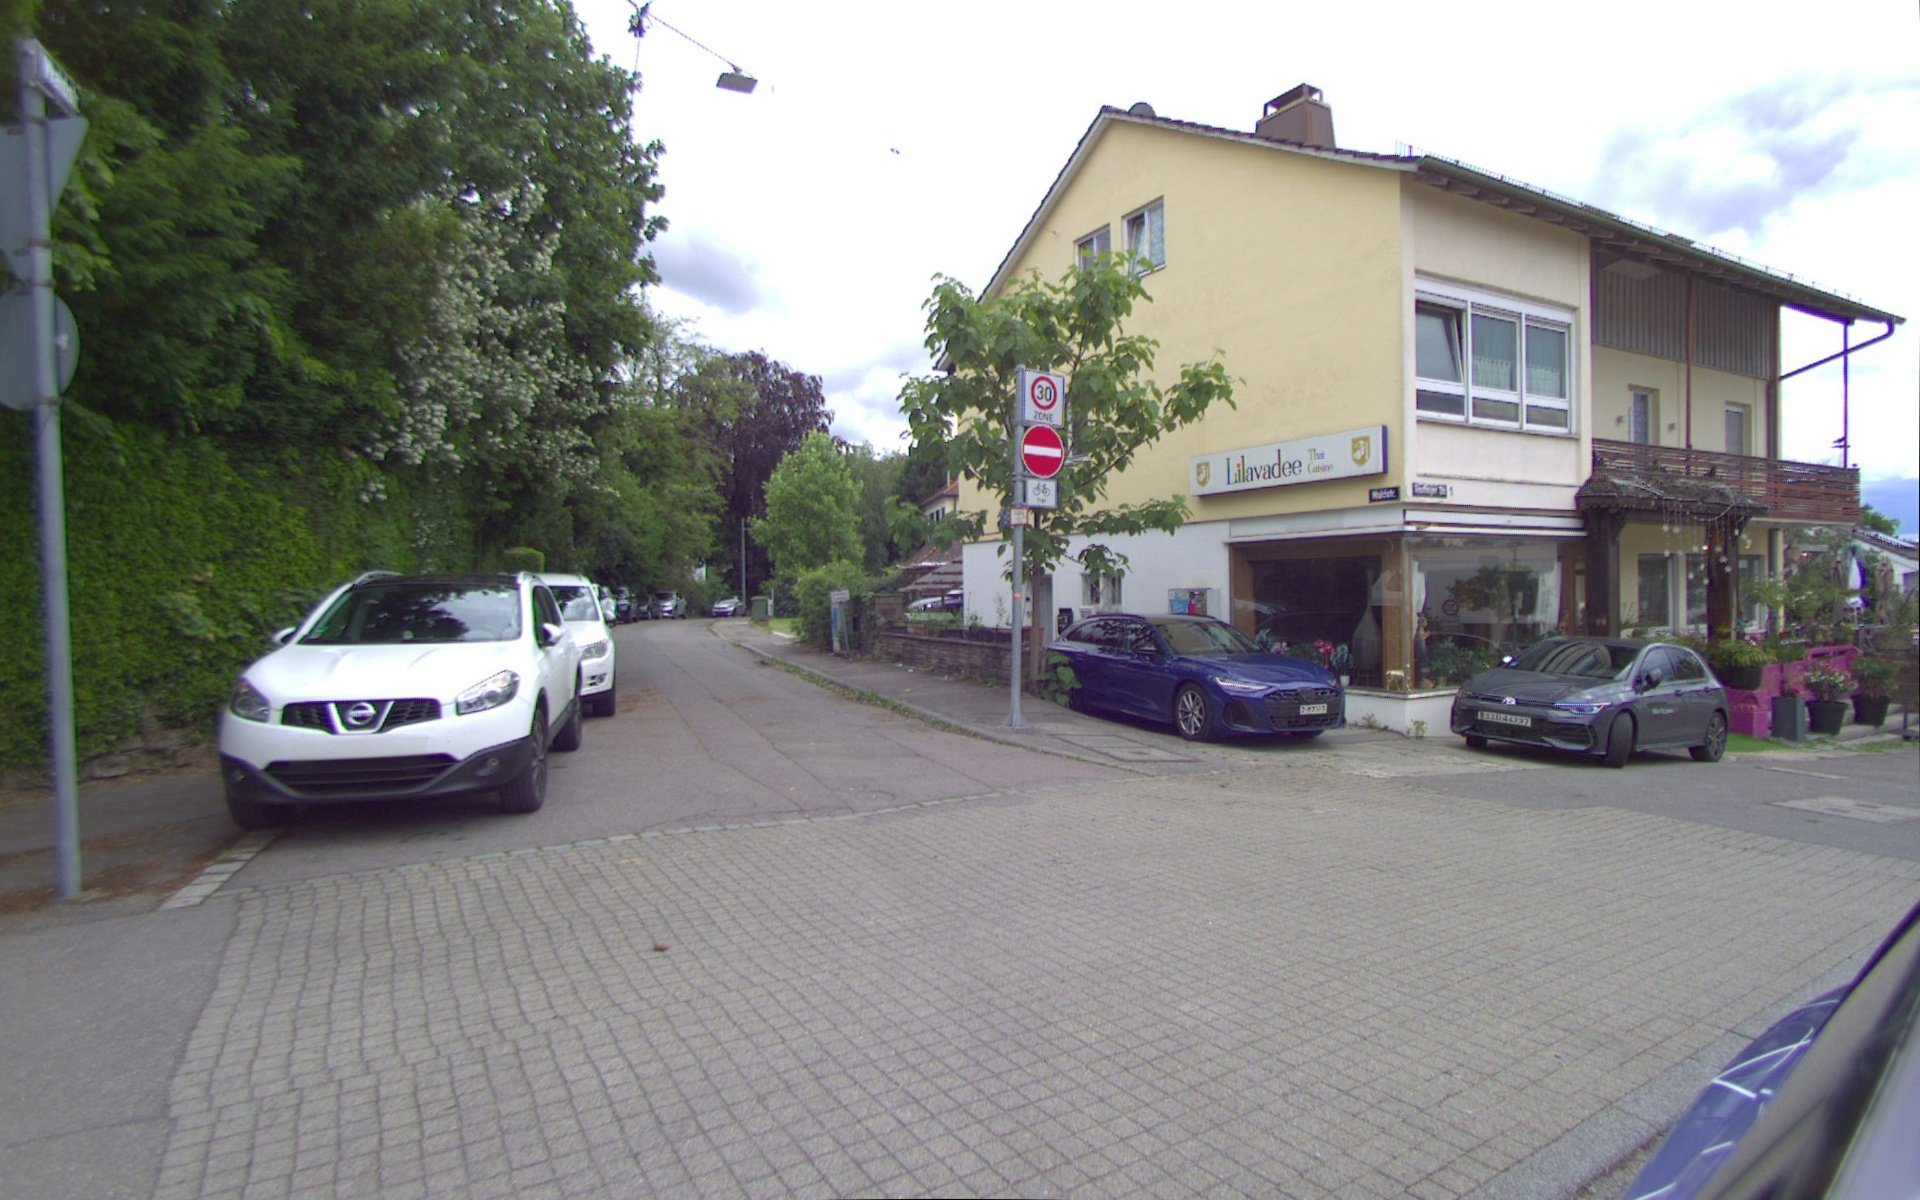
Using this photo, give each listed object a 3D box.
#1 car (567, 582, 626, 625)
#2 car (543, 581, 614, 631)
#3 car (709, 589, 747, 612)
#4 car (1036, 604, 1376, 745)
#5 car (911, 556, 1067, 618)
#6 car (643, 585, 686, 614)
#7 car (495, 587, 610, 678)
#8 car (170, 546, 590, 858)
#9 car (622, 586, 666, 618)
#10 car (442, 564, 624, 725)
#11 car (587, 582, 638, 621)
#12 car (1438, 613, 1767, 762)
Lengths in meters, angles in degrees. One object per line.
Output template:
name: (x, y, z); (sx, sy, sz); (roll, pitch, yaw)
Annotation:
car: (-13.434, 0.099, 37.555); (1.542, 1.502, 3.481); (-1, 1, -11)
car: (-12.228, 0.134, 32.602); (1.542, 1.502, 3.745); (-1, 1, -11)
car: (-16.365, 0.020, 71.466); (1.547, 1.502, 3.468); (0, 1, 7)
car: (2.908, 0.824, 13.223); (1.761, 1.405, 4.758); (2, 0, -23)
car: (0.867, -0.365, 30.387); (4.235, 1.480, 1.802); (4, -2, -19)
car: (-16.255, -0.047, 55.804); (1.543, 1.502, 3.476); (0, 1, -3)
car: (-7.421, 0.496, 18.665); (1.761, 1.441, 4.080); (-1, 1, -20)
car: (-3.873, 0.505, 7.566); (1.761, 1.643, 4.144); (-1, 1, -16)
car: (-15.930, 0.068, 51.121); (1.542, 1.502, 3.479); (-1, 1, -8)
car: (-5.183, 0.431, 12.621); (1.761, 1.643, 4.080); (-1, 1, -20)
car: (-14.219, 0.040, 41.535); (1.542, 1.502, 3.481); (-1, 1, -11)
car: (7.937, 1.061, 12.385); (4.242, 1.480, 1.800); (5, -2, -34)
